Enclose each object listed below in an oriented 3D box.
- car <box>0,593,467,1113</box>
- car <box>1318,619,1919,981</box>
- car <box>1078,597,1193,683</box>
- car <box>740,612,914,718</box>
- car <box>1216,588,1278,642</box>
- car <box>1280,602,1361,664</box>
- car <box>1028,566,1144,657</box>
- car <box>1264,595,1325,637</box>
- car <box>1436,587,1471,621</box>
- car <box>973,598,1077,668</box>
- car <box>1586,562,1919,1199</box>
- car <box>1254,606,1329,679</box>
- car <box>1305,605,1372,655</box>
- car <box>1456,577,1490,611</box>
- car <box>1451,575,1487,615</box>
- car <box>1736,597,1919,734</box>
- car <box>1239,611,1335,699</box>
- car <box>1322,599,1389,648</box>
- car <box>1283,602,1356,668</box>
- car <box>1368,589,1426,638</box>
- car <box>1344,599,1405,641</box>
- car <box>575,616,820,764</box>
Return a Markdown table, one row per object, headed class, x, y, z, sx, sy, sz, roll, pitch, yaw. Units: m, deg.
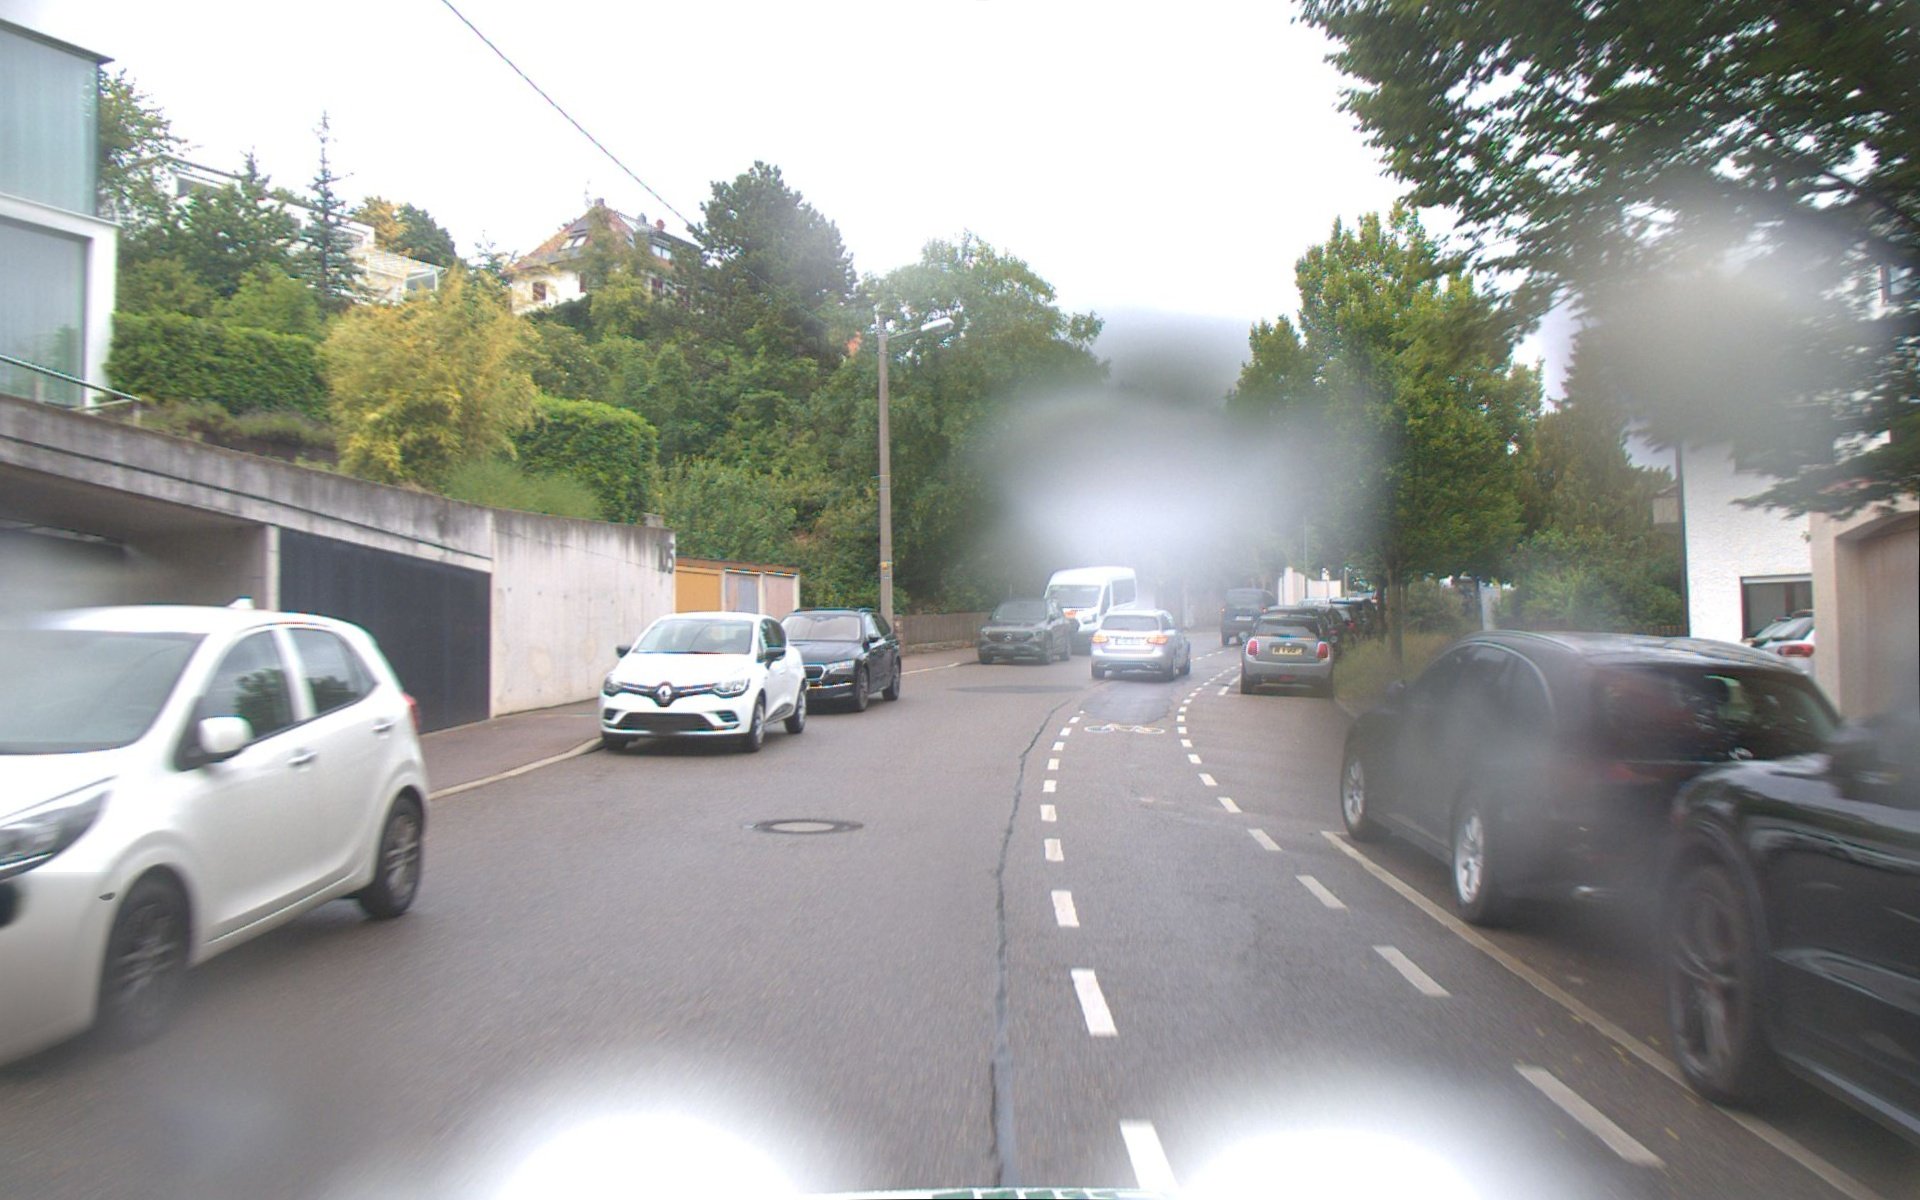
| class | x | y | z | sx | sy | sz | roll | pitch | yaw |
| --- | --- | --- | --- | --- | --- | --- | --- | --- | --- |
| car | -3.474 | 0.760 | 6.847 | 1.593 | 1.542 | 3.833 | 0 | 0 | 2 |
| car | 3.546 | 0.916 | 9.853 | 1.823 | 1.495 | 5.057 | 2 | 0 | 2 |
| car | 3.853 | 0.831 | 35.786 | 1.982 | 1.738 | 4.219 | 0 | -1 | 13 |
| car | -1.934 | 0.929 | 25.489 | 1.676 | 1.485 | 4.686 | 0 | 0 | 8 |
| car | 9.657 | 0.504 | 55.809 | 1.951 | 1.738 | 4.003 | 0 | -1 | 8 |
| car | 10.163 | 0.880 | 46.385 | 1.739 | 1.580 | 4.730 | 1 | 0 | 18 |
| car | 3.938 | 0.307 | 50.583 | 2.050 | 2.594 | 6.099 | -1 | 0 | 19 |
| car | 14.233 | 0.671 | 70.158 | 1.952 | 1.738 | 4.000 | 0 | -1 | 20 |
| car | 27.348 | 0.208 | 91.543 | 1.743 | 1.814 | 4.681 | -1 | 0 | 18 |
| car | 1.767 | 0.818 | 43.271 | 1.855 | 1.721 | 4.549 | -1 | 0 | 13 |
| car | 3.356 | 0.750 | 4.050 | 2.011 | 1.685 | 5.238 | 0 | 0 | 4 |
| car | 7.670 | 0.942 | 38.131 | 1.592 | 1.590 | 3.025 | 1 | 0 | 13 |
| car | 12.041 | 0.911 | 52.488 | 1.609 | 1.449 | 4.289 | 2 | 1 | 19 |
| car | 32.262 | -0.353 | 103.886 | 1.952 | 2.088 | 5.124 | 0 | 0 | 18 |
| car | 34.262 | -0.367 | 111.227 | 2.128 | 2.536 | 6.036 | 1 | 1 | 19 |
| car | 11.657 | 0.831 | 19.474 | 4.211 | 1.491 | 1.936 | 2 | -2 | 12 |
| car | 6.198 | 0.990 | 31.264 | 1.633 | 1.496 | 3.713 | 2 | 0 | 12 |
| car | 13.780 | 0.780 | 57.534 | 1.679 | 1.583 | 4.164 | 2 | 1 | 21 |
| car | 9.064 | 0.844 | 41.522 | 1.619 | 1.546 | 4.003 | 1 | 0 | 14 |
| car | 17.782 | 0.524 | 67.214 | 1.742 | 1.884 | 4.424 | 0 | 1 | 22 |
| car | 15.713 | 0.736 | 62.525 | 1.615 | 1.507 | 4.018 | 1 | 0 | 23 |
| car | -2.835 | 0.934 | 18.776 | 1.793 | 1.465 | 4.042 | -1 | 0 | 5 |
